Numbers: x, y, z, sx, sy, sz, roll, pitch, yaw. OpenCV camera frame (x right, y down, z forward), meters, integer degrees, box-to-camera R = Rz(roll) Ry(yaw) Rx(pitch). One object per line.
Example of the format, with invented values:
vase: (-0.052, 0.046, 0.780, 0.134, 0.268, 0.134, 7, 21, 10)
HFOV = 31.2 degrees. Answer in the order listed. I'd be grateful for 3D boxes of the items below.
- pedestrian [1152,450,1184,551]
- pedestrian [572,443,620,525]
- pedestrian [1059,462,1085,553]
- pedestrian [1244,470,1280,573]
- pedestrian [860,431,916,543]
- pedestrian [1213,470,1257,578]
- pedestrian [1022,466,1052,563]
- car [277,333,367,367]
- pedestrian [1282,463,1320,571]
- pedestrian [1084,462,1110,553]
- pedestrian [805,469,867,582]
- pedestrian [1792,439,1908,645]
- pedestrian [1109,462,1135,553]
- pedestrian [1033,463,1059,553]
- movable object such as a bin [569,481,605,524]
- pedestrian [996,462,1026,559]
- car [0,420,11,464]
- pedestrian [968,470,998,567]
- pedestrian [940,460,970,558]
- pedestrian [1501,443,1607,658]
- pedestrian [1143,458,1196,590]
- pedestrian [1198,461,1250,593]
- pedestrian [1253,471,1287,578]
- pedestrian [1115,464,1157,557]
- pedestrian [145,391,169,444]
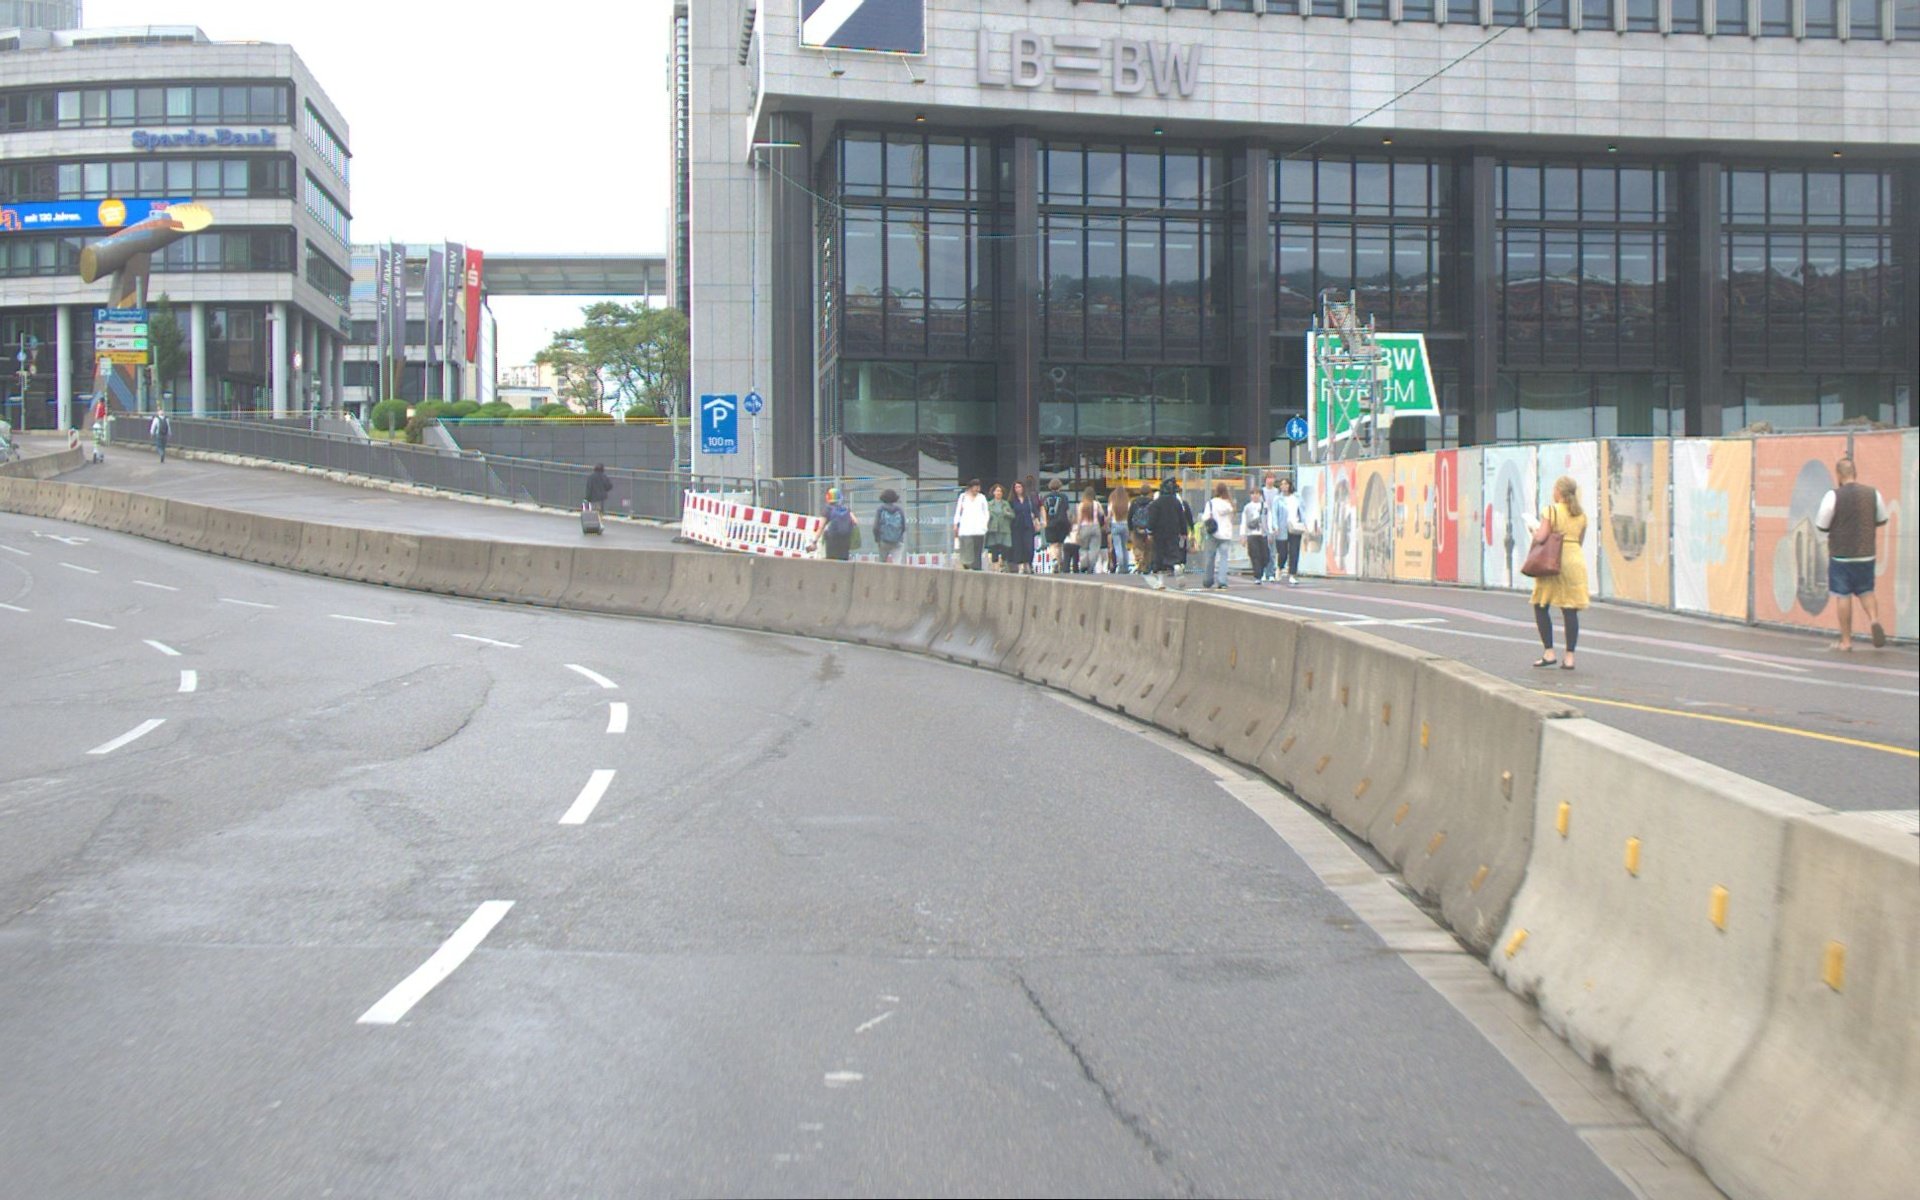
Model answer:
pedestrian: (3.779, -1.809, 62.413, 0.529, 1.812, 0.536, 0, 3, -2)
pedestrian: (-7.960, -2.535, 75.154, 0.756, 1.784, 1.057, -1, 2, -23)
pedestrian: (2.120, -1.759, 65.042, 0.448, 1.699, 0.647, 0, 3, 7)
pedestrian: (5.021, -1.306, 57.161, 0.500, 1.699, 0.733, 0, 3, -3)
pedestrian: (-1.072, -1.675, 50.795, 0.658, 1.636, 0.824, -1, 3, -14)
pedestrian: (4.401, -1.220, 55.018, 0.625, 1.699, 0.647, 0, 3, -3)
pedestrian: (1.365, -1.519, 60.820, 0.448, 1.699, 0.647, 0, 3, -6)
car: (-27.961, -10.933, 150.674, 1.625, 1.429, 3.733, 2, 4, 38)
pedestrian: (5.462, -1.335, 55.056, 0.502, 1.699, 0.647, 0, 3, -3)
pedestrian: (2.595, -1.746, 64.994, 0.448, 1.699, 0.647, 0, 3, 7)
pedestrian: (-1.825, -1.099, 50.632, 0.750, 1.636, 0.824, -1, 3, -14)
pedestrian: (8.217, -0.544, 31.756, 0.779, 1.855, 0.812, -2, 2, -5)
pedestrian: (3.059, -1.745, 64.831, 0.448, 1.699, 0.647, 0, 3, 7)
pedestrian: (1.630, -1.745, 65.148, 0.448, 1.699, 0.647, 0, 3, 7)
movable object such as a bin: (-8.107, -2.117, 74.717, 0.598, 0.930, 0.742, -1, 2, -23)
pedestrian: (0.900, -1.586, 60.720, 0.453, 1.699, 0.647, 0, 3, -6)
car: (-30.666, -4.947, 107.525, 1.824, 1.348, 3.867, -1, 3, -16)
pedestrian: (0.406, -1.444, 60.620, 0.448, 1.699, 0.647, 0, 3, -6)
pedestrian: (-0.090, -1.601, 60.497, 0.448, 1.699, 0.647, 0, 3, -6)
pedestrian: (5.191, -0.442, 30.086, 0.732, 1.847, 0.831, 0, 2, -3)
pedestrian: (3.235, -1.176, 53.071, 0.784, 2.006, 0.863, 0, 3, 5)
pedestrian: (4.074, -1.132, 53.036, 0.784, 2.006, 0.863, 0, 3, 5)
pedestrian: (4.957, -1.209, 55.048, 0.448, 1.699, 0.647, 0, 3, -3)
pedestrian: (3.260, -1.664, 63.703, 0.511, 1.699, 0.574, -2, 4, -39)
pedestrian: (-27.098, -6.159, 116.024, 0.625, 1.758, 0.590, 0, 3, 0)
